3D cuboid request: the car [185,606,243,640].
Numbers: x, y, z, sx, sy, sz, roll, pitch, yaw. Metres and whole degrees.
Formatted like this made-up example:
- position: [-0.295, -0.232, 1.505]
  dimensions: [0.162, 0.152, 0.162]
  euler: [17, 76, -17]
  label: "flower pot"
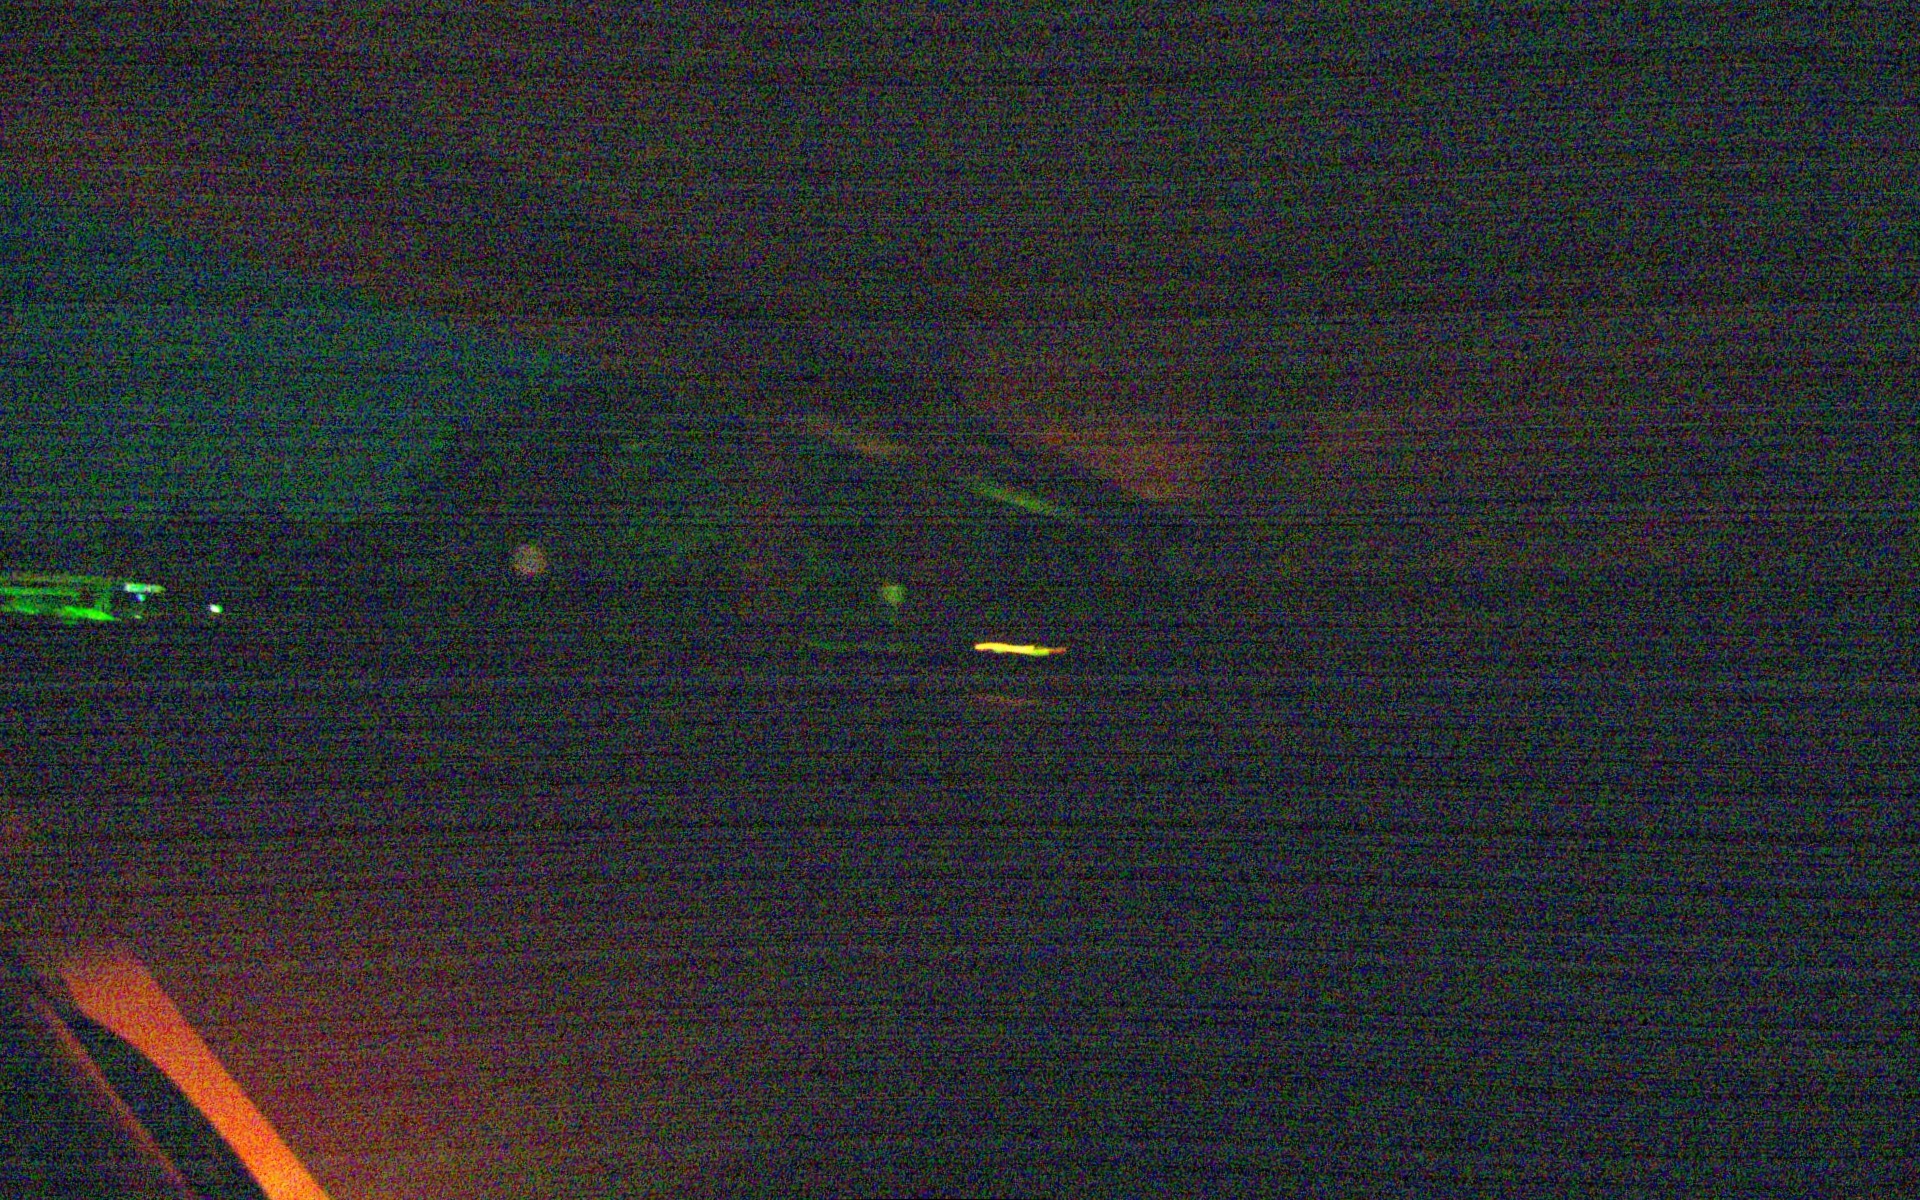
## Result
- position: [-45.228, 1.365, 61.345]
  dimensions: [4.607, 2.029, 1.972]
  euler: [-1, -1, 42]
  label: "car"
